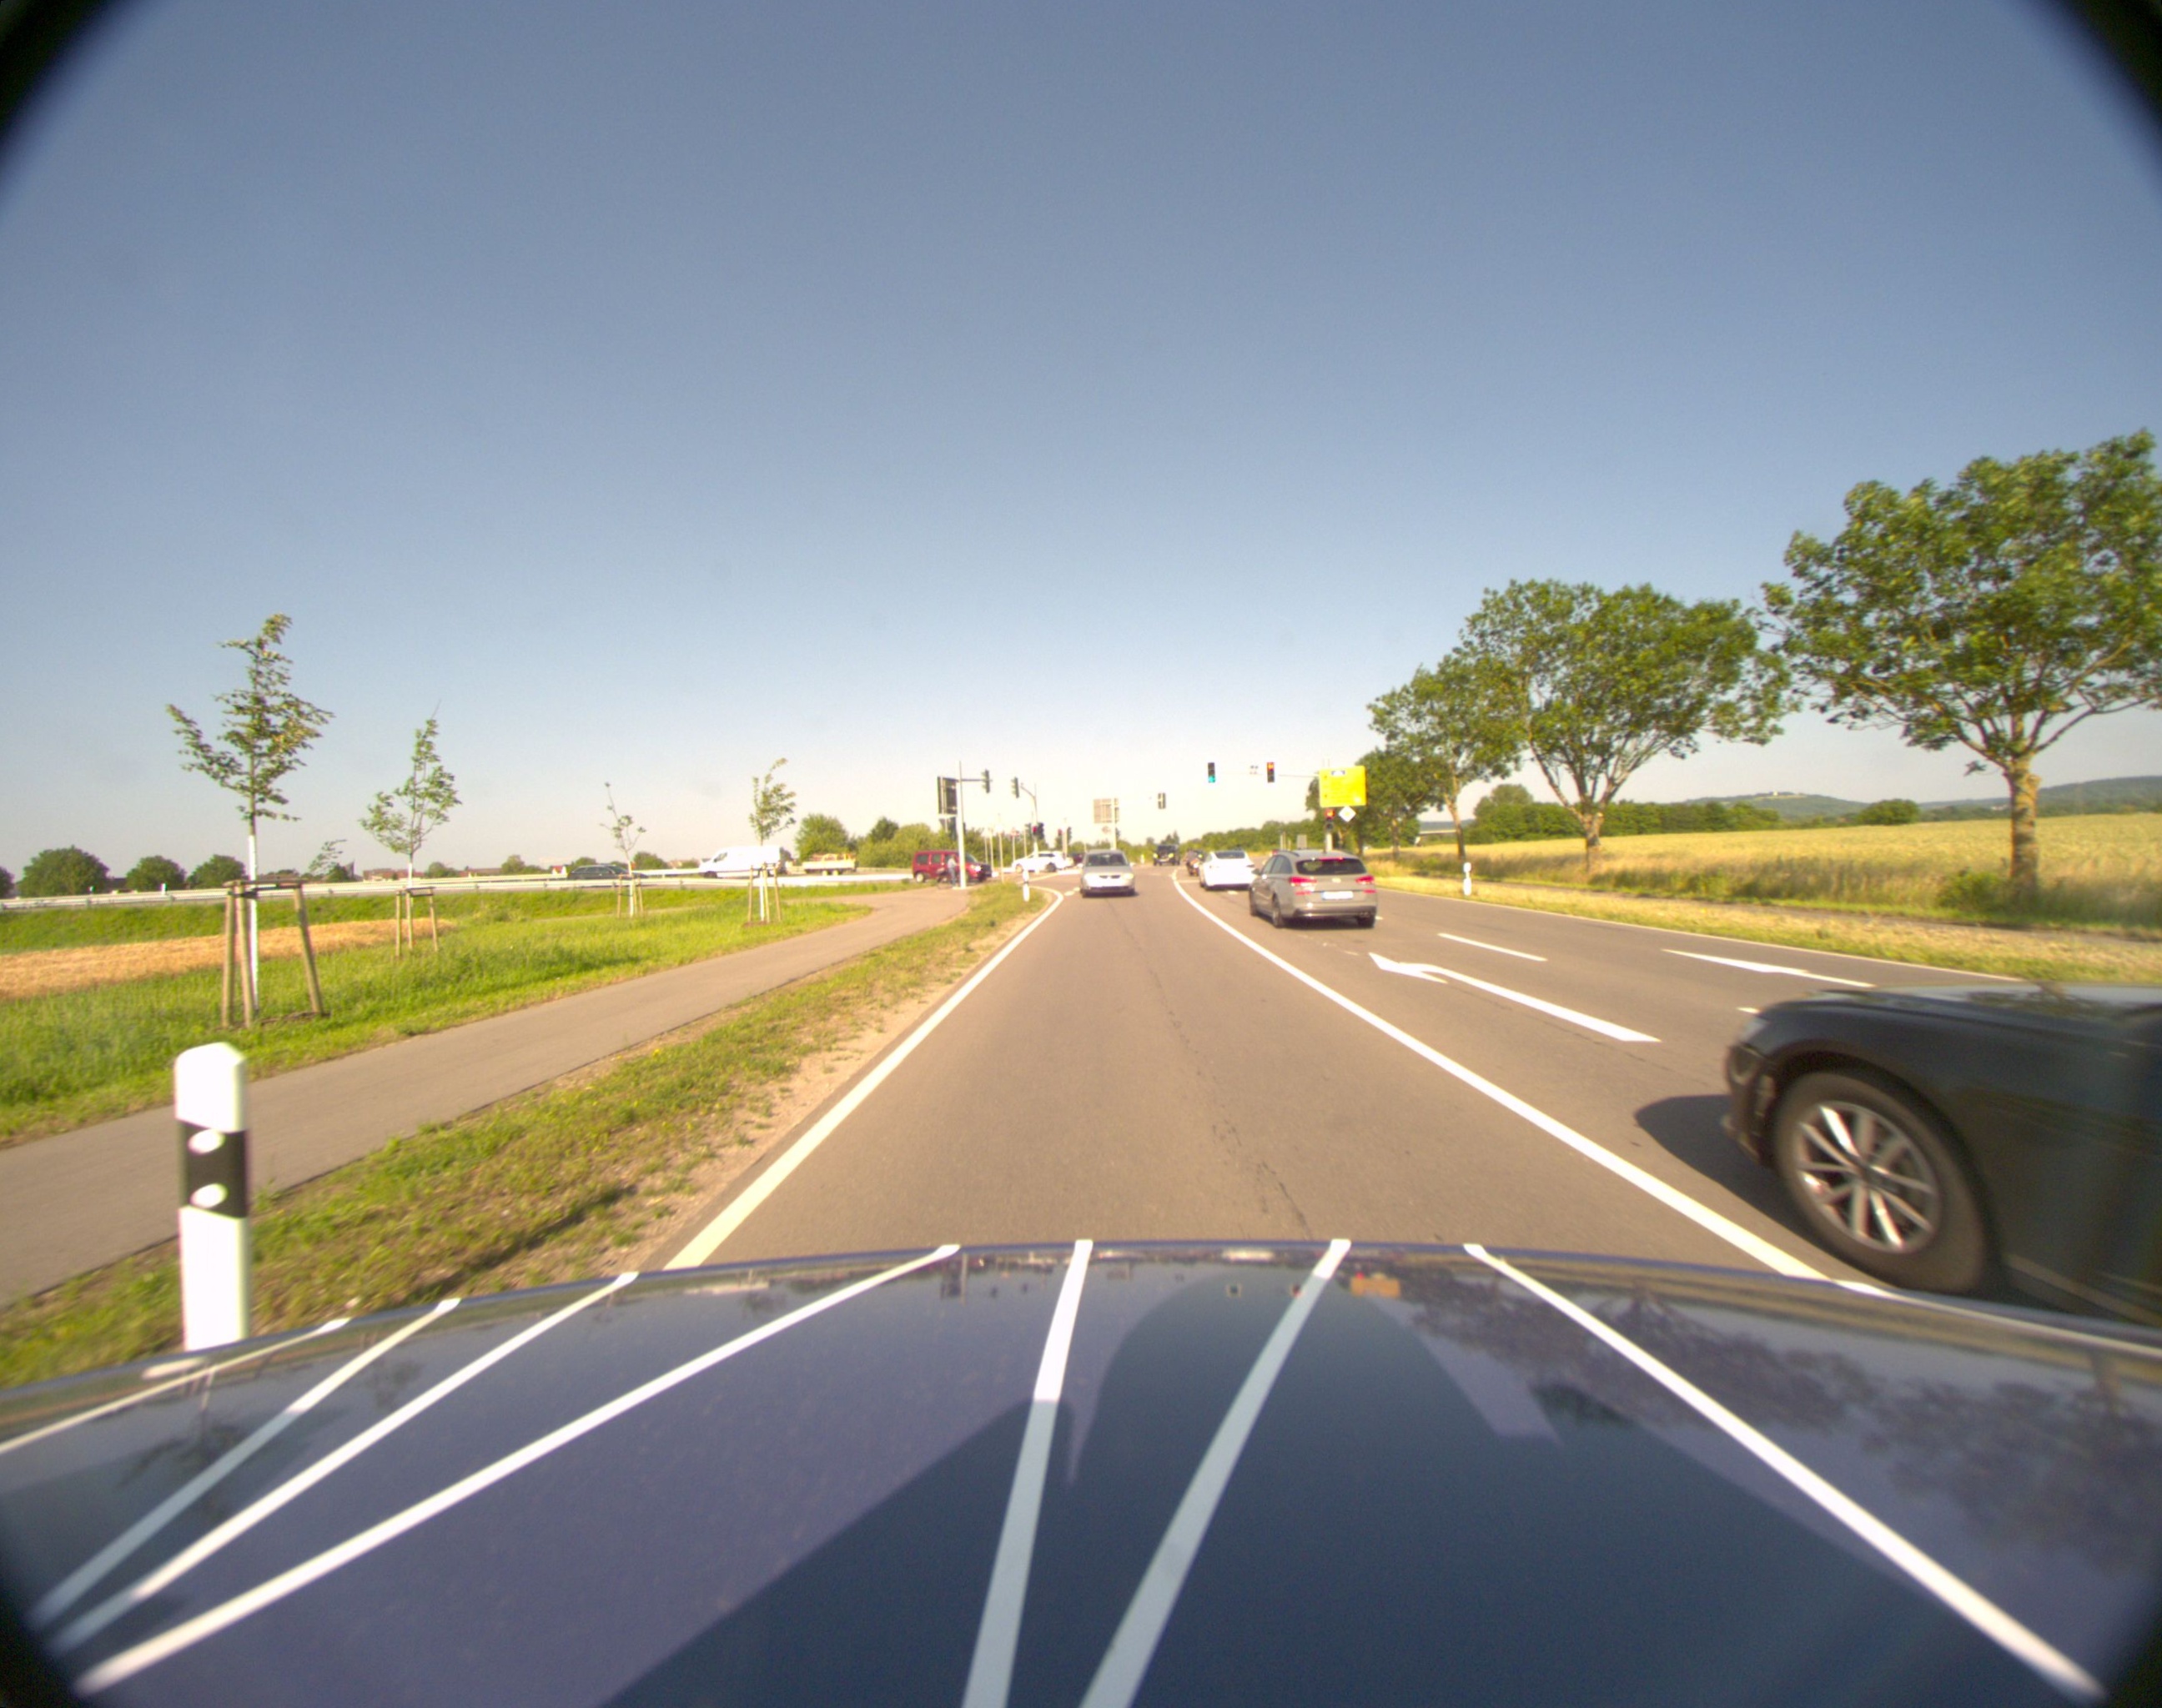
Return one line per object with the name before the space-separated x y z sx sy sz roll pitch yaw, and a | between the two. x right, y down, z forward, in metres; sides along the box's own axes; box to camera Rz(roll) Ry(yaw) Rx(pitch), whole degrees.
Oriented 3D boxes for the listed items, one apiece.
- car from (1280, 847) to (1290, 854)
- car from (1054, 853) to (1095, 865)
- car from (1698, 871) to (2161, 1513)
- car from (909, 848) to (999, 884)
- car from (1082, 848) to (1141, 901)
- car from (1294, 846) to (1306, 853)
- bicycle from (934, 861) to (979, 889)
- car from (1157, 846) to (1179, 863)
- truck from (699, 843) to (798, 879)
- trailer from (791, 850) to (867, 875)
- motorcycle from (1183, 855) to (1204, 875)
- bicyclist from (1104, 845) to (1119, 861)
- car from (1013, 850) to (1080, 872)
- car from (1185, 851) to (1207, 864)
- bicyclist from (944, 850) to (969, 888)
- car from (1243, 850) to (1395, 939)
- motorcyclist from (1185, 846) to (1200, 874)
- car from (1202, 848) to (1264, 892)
car | 39.277 -0.691 145.929 1.631 1.369 4.428 0 1 18
car | -0.586 0.440 71.374 1.735 1.106 4.008 0 1 38
car | 3.501 0.844 0.753 1.895 1.428 4.796 -2 1 0
car | -7.055 0.666 42.101 4.687 1.826 1.696 -2 1 25
car | 0.987 0.667 26.720 1.755 1.685 4.214 -1 0 -2
car | 48.197 -1.037 166.819 1.886 1.616 4.007 1 1 25
bicycle | -6.049 1.026 36.979 1.948 1.145 0.679 -7 5 -38
car | 8.247 0.029 71.730 1.860 1.533 4.003 -1 0 10
truck | -24.242 0.482 55.643 6.197 2.391 2.069 -2 1 -7
trailer | -18.671 0.612 56.388 5.011 1.728 1.979 -2 1 -8
motorcycle | 6.173 0.613 41.818 0.899 1.037 2.429 -2 0 2
bicyclist | 2.559 -0.085 63.527 1.072 1.344 0.859 -1 2 9
car | -2.561 0.510 55.974 4.695 1.483 1.768 -1 1 30
car | 13.803 0.401 91.074 1.859 1.533 4.005 -1 0 18
bicyclist | -6.061 0.722 36.968 0.919 1.756 0.618 -7 5 -38
car | 4.566 0.690 15.278 1.894 1.452 4.306 -2 1 3
motorcyclist | 6.189 0.331 42.141 0.680 1.506 1.181 -2 1 3
car | 5.578 0.548 28.348 1.894 1.458 4.277 -1 1 7
